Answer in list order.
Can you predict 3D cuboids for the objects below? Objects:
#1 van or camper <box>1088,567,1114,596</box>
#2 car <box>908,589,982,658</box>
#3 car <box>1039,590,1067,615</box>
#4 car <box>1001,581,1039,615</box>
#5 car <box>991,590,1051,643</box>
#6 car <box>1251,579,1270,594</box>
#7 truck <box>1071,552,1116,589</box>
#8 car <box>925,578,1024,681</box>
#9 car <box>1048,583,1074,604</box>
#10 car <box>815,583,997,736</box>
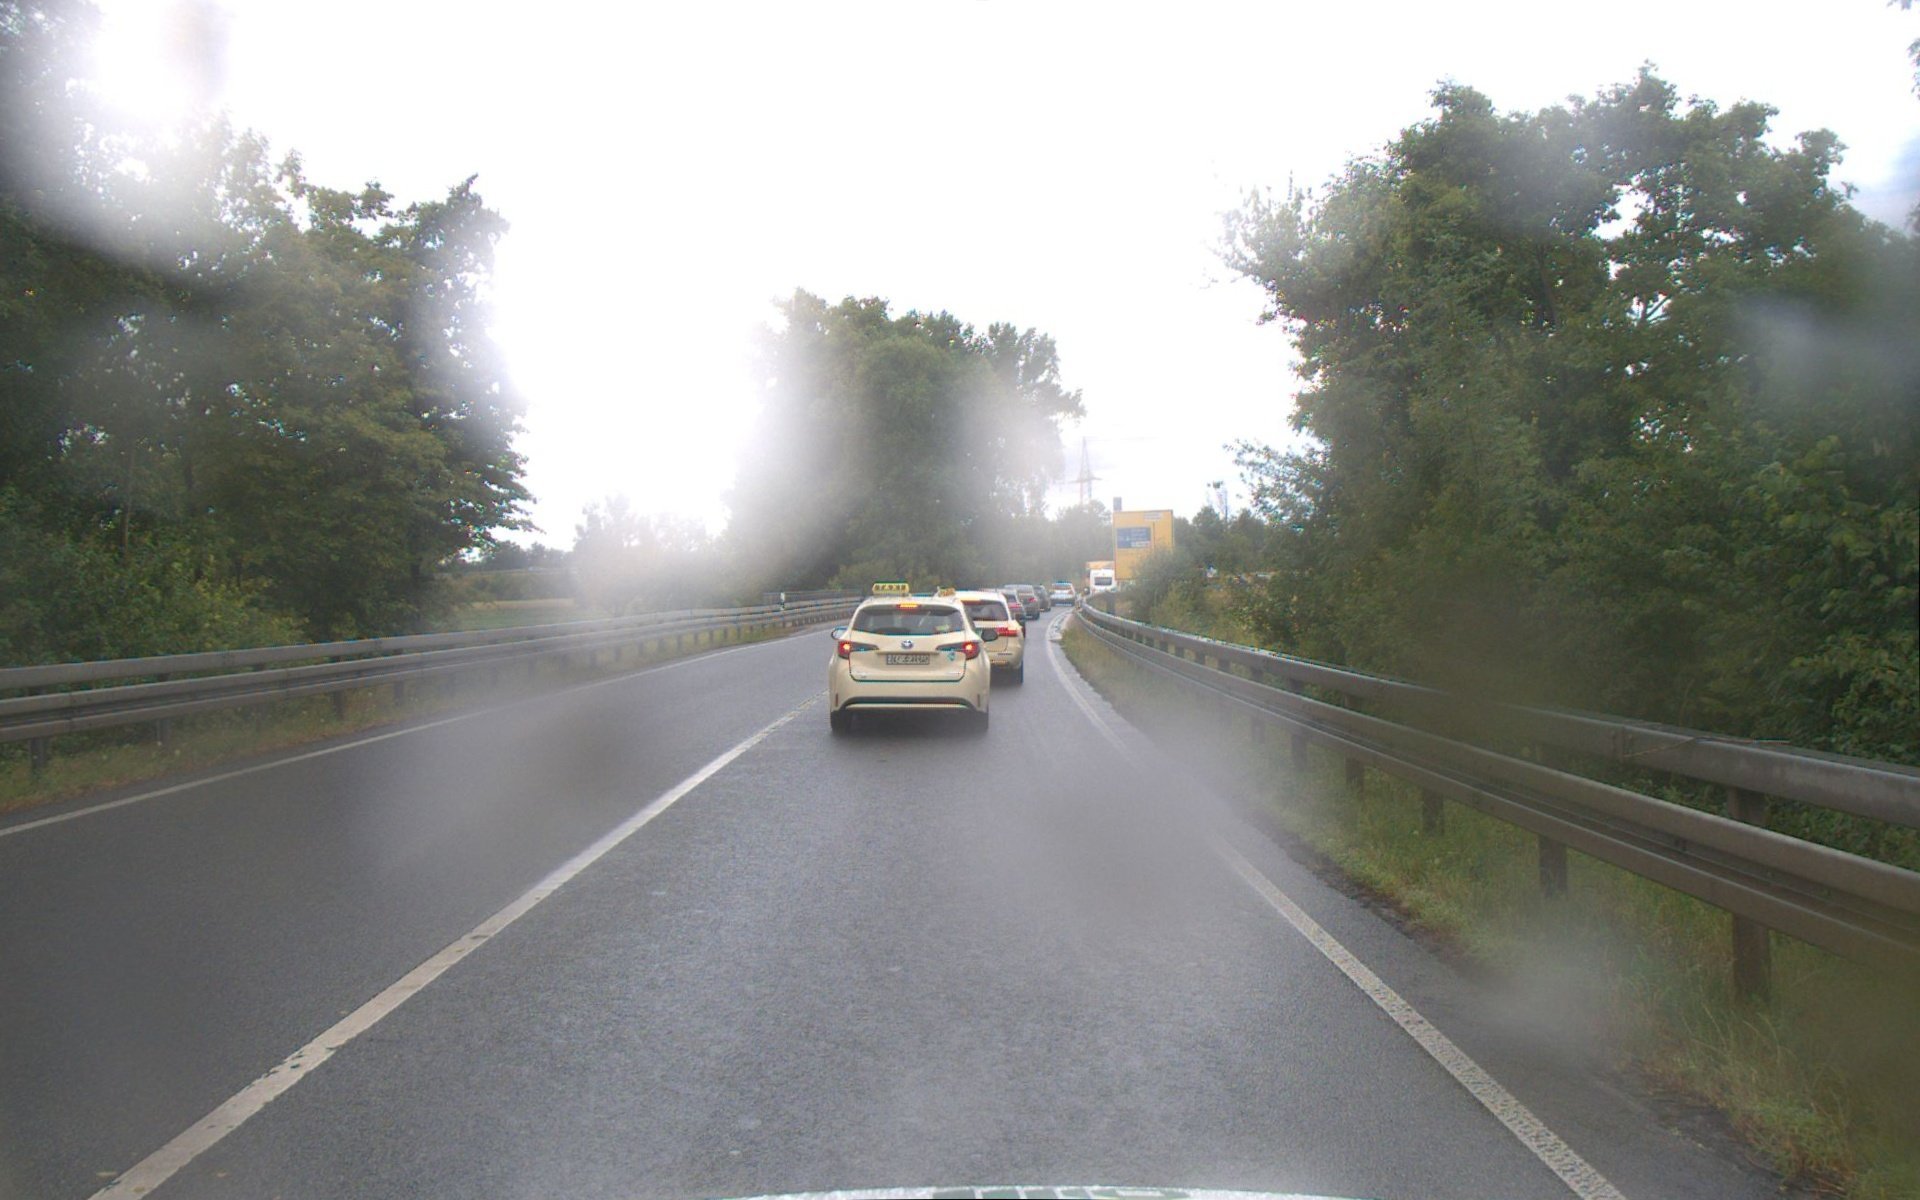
[{"bbox_3d":[11.759,-1.532,138.101,1.951,2.293,4.003,1,0,7],"label":"van or camper"},{"bbox_3d":[-0.296,0.490,37.047,1.474,1.462,3.357,1,0,2],"label":"car"},{"bbox_3d":[5.188,0.132,91.857,1.451,1.332,3.479,0,0,5],"label":"car"},{"bbox_3d":[2.671,-0.067,73.063,1.625,1.434,3.905,0,-1,3],"label":"car"},{"bbox_3d":[1.757,0.451,48.549,1.631,1.489,3.477,0,0,0],"label":"car"},{"bbox_3d":[39.790,-1.777,218.815,1.781,1.870,3.989,0,0,20],"label":"car"},{"bbox_3d":[13.281,-2.969,164.157,2.712,3.488,9.195,2,2,15],"label":"truck"},{"bbox_3d":[0.300,0.456,27.693,1.545,1.600,3.682,0,0,2],"label":"car"},{"bbox_3d":[6.648,-0.421,108.694,1.451,1.332,3.479,0,0,7],"label":"car"},{"bbox_3d":[-0.530,0.596,19.073,1.867,1.564,4.162,0,0,1],"label":"car"}]
